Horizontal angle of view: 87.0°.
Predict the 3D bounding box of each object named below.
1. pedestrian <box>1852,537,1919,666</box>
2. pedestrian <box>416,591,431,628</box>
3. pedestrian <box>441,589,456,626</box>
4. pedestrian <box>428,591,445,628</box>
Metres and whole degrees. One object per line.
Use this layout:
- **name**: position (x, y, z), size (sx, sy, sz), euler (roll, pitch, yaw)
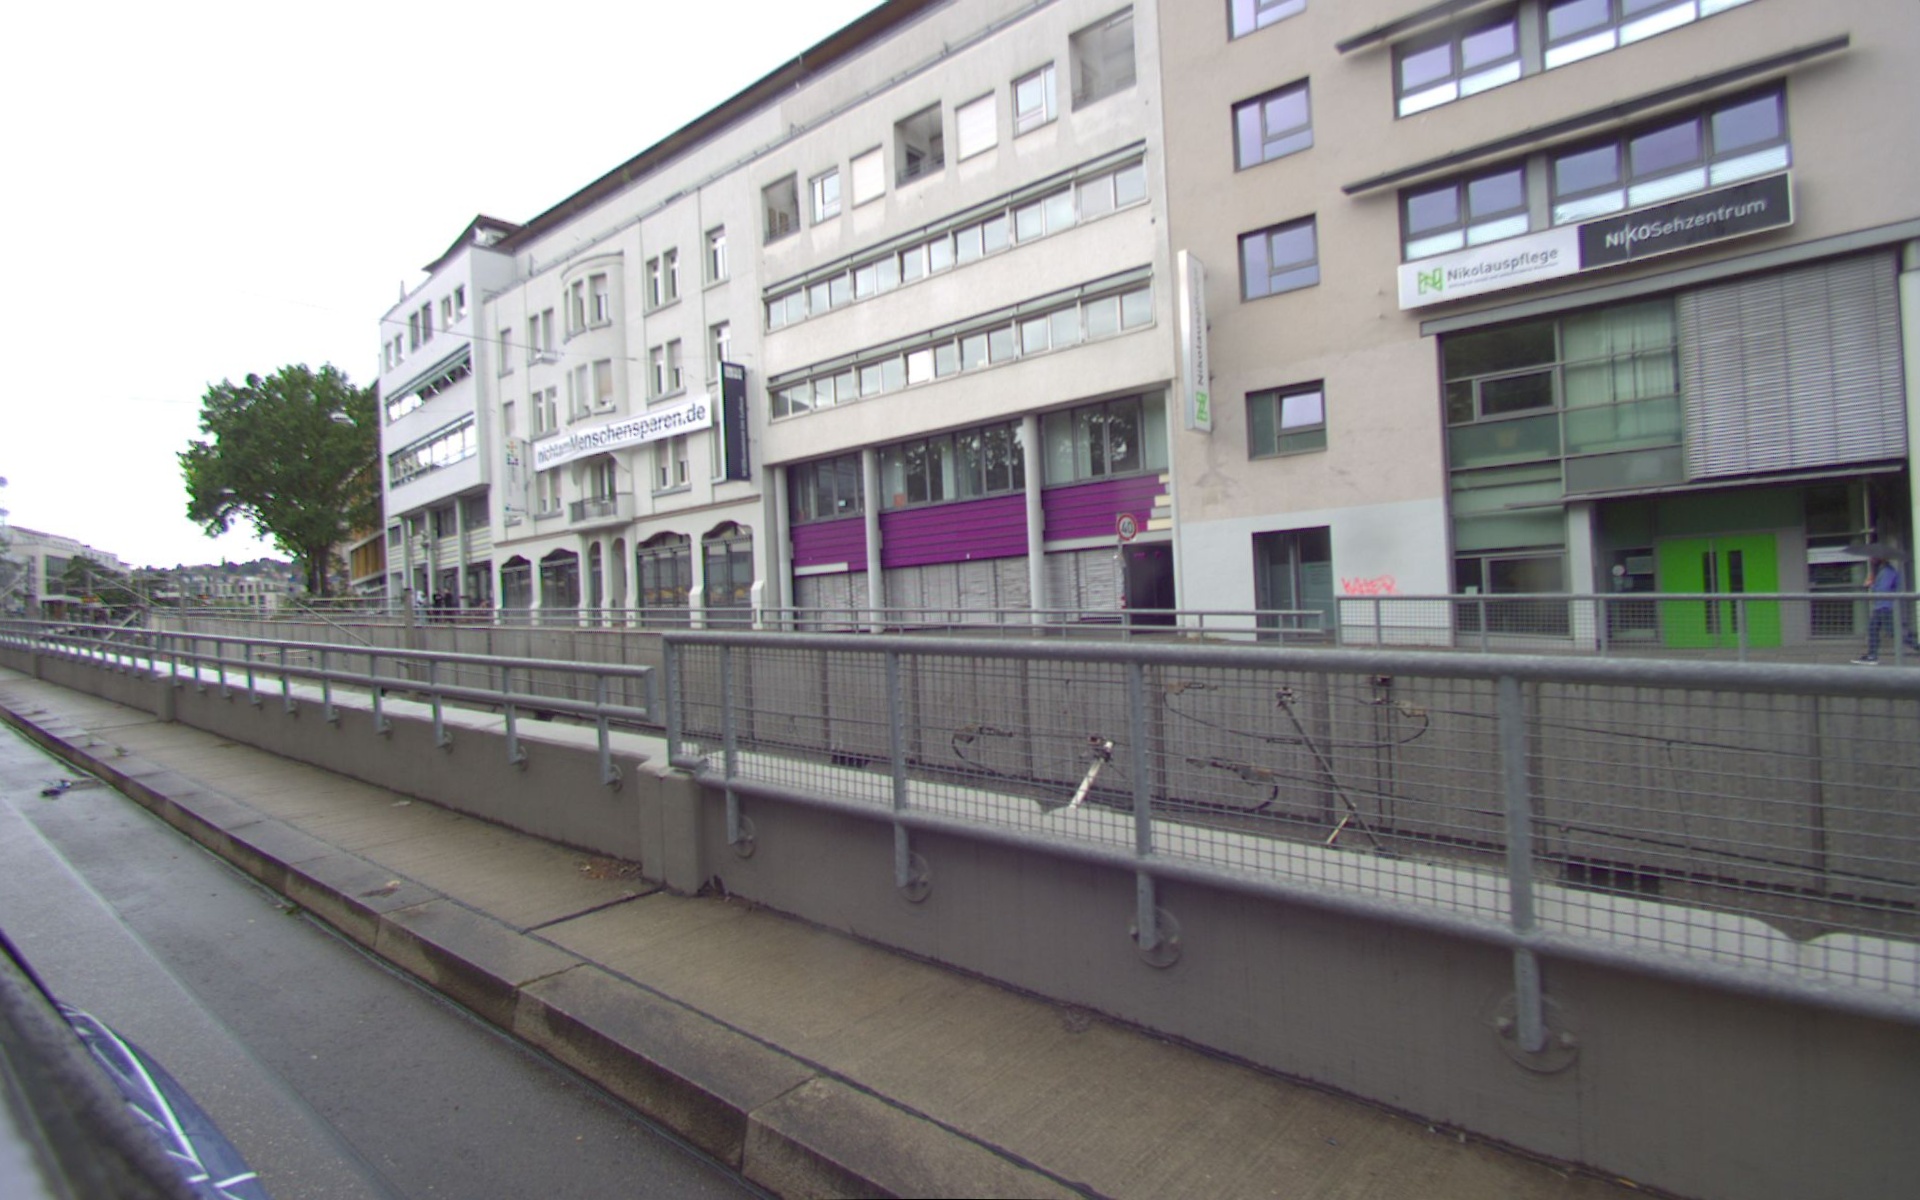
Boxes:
- **pedestrian**: position (13.934, 0.011, 14.972), size (1.059, 1.852, 0.848), euler (-1, 1, 41)
- **pedestrian**: position (-26.866, 0.485, 50.657), size (0.463, 1.816, 0.548), euler (-3, 1, -42)
- **pedestrian**: position (-25.561, 0.393, 50.607), size (0.547, 1.816, 0.463), euler (-1, 1, 44)
- **pedestrian**: position (-26.576, 0.488, 51.356), size (0.469, 1.816, 0.541), euler (-1, 1, 33)
